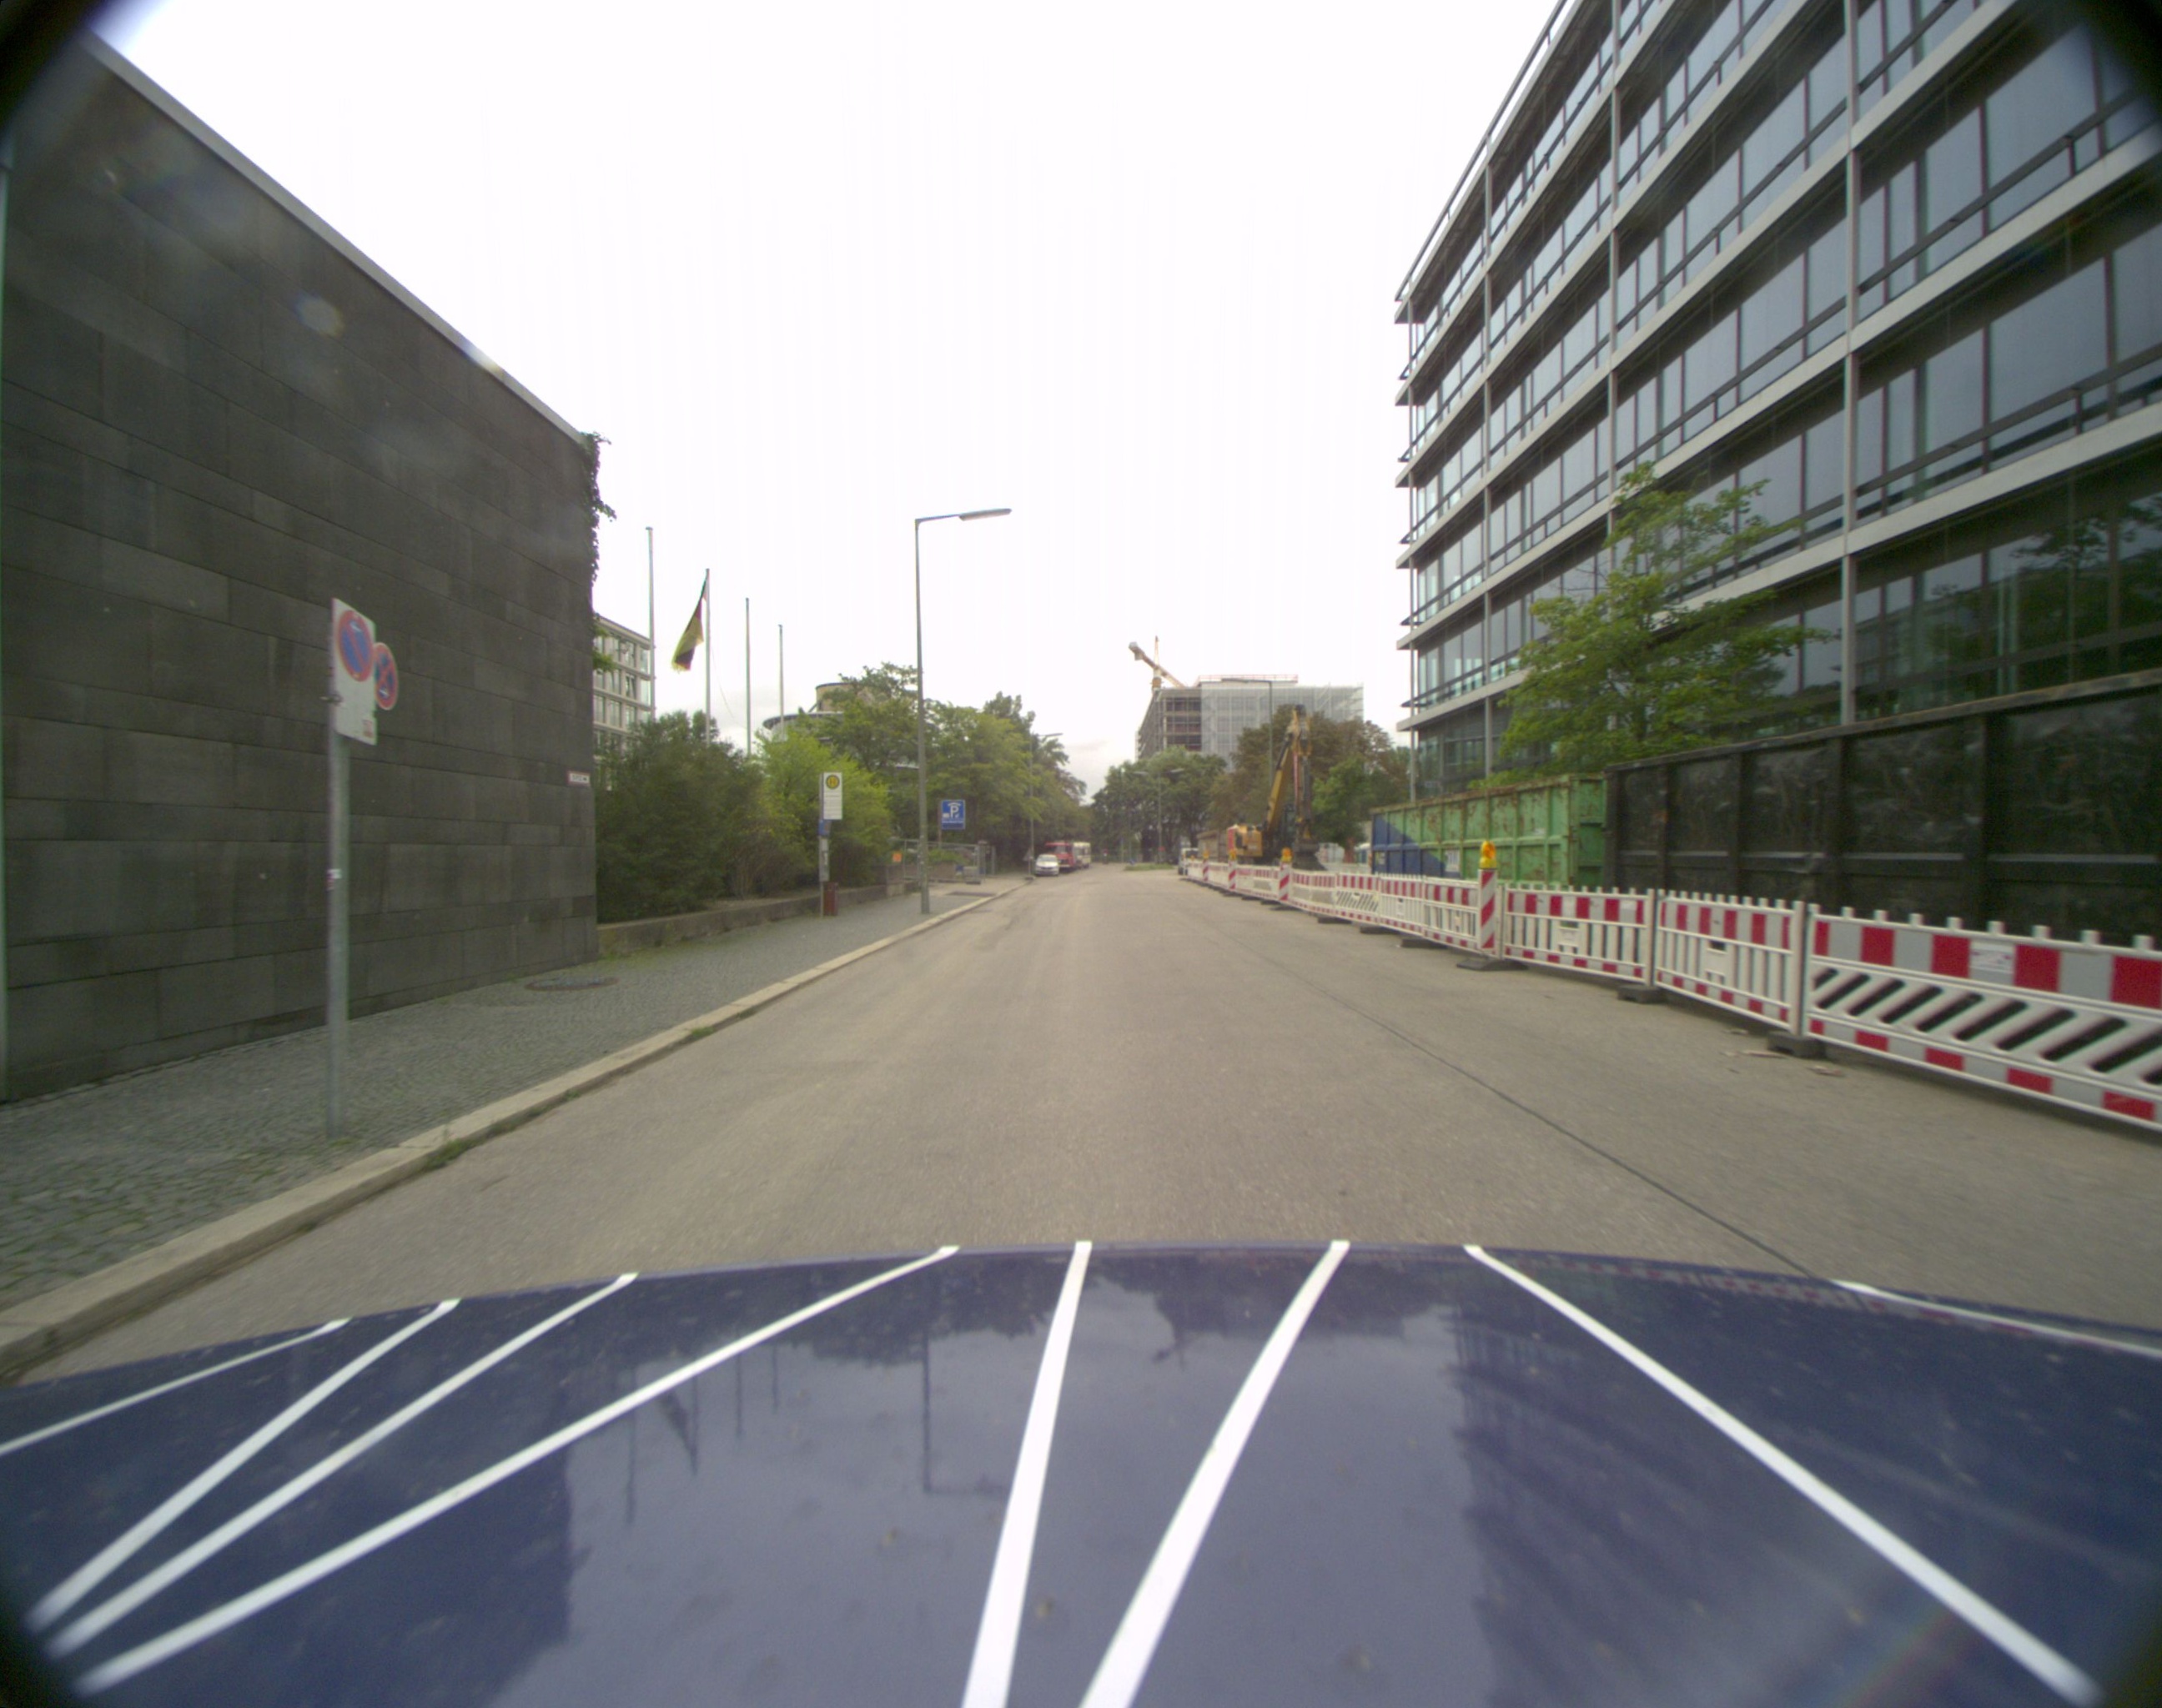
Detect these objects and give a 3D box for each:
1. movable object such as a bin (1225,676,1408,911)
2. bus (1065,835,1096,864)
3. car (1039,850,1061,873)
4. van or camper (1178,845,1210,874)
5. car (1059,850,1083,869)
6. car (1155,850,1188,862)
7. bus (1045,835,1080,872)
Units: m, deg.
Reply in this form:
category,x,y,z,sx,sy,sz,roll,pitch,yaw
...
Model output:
category,x,y,z,sx,sy,sz,roll,pitch,yaw
movable object such as a bin,7.676,-1.734,27.065,2.911,6.527,11.782,0,1,0
bus,0.023,-0.462,74.540,2.076,2.714,5.871,0,0,10
car,-2.208,0.519,54.389,1.536,1.483,4.059,0,1,-1
van or camper,8.522,0.408,57.571,1.993,2.022,5.588,1,0,4
car,-0.855,0.443,67.520,1.782,1.630,4.398,0,0,3
car,11.851,0.227,99.129,3.891,1.564,1.786,0,2,-22
bus,-1.398,-0.044,61.146,2.077,2.789,6.274,0,0,6
